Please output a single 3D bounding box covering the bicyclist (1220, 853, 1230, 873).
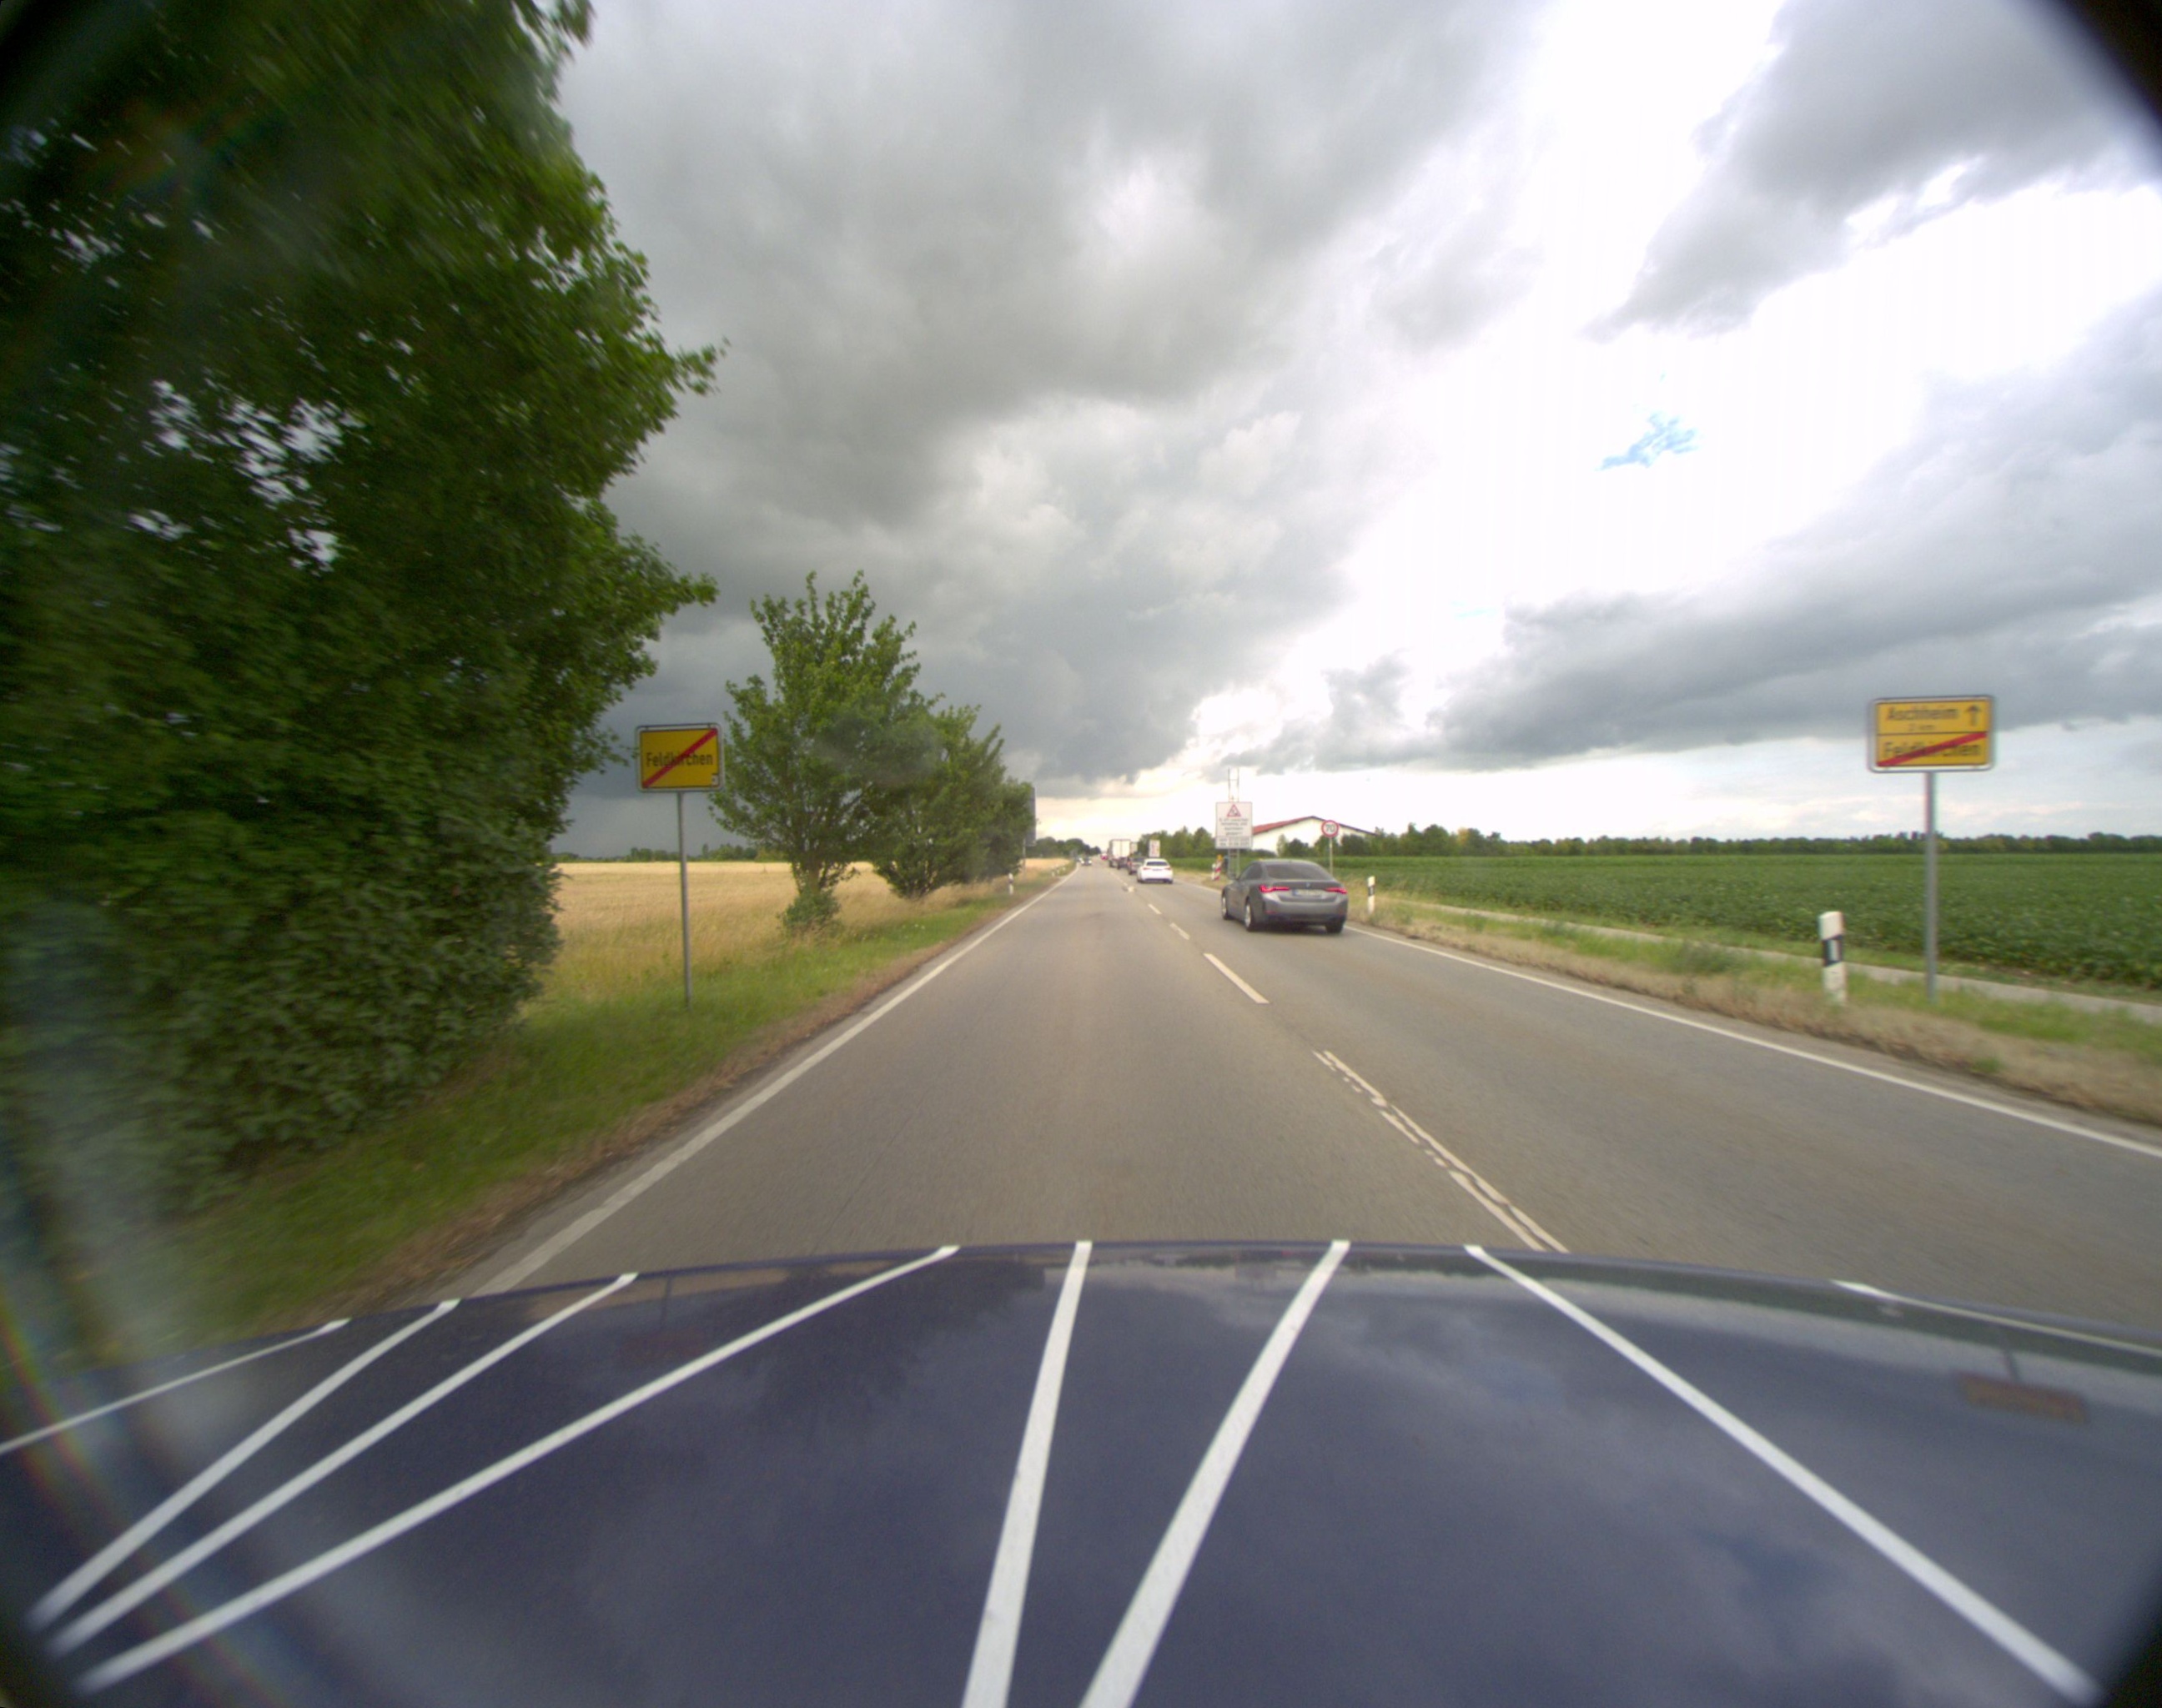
[{"bbox_3d":[11.761,0.699,61.970,0.530,1.575,1.223,1,1,0],"label":"bicyclist"}]

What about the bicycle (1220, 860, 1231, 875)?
[{"bbox_3d":[11.758,1.121,62.052,0.530,1.149,1.794,1,0,0],"label":"bicycle"}]

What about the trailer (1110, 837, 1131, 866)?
[{"bbox_3d":[5.813,-0.393,113.443,2.640,4.097,13.766,0,0,1],"label":"trailer"}]

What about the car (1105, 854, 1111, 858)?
[{"bbox_3d":[9.145,0.754,256.815,1.869,1.352,3.826,0,1,1],"label":"car"}]

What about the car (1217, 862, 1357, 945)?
[{"bbox_3d":[4.207,0.935,16.284,1.857,1.456,4.370,0,0,1],"label":"car"}]

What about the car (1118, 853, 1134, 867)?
[{"bbox_3d":[5.441,0.694,91.992,1.733,1.577,4.504,0,0,1],"label":"car"}]

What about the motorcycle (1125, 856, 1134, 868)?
[{"bbox_3d":[5.101,0.850,80.307,0.799,1.151,2.620,0,0,1],"label":"motorcycle"}]

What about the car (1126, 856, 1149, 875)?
[{"bbox_3d":[4.791,0.927,64.768,1.708,1.531,4.301,1,0,1],"label":"car"}]

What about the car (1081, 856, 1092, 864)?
[{"bbox_3d":[0.995,1.080,136.712,1.869,1.352,3.826,0,1,0],"label":"car"}]

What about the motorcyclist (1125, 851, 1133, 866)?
[{"bbox_3d":[5.095,0.441,80.273,0.799,1.564,1.078,0,1,1],"label":"motorcyclist"}]

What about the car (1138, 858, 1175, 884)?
[{"bbox_3d":[4.316,0.939,44.120,1.777,1.365,4.100,1,0,1],"label":"car"}]
